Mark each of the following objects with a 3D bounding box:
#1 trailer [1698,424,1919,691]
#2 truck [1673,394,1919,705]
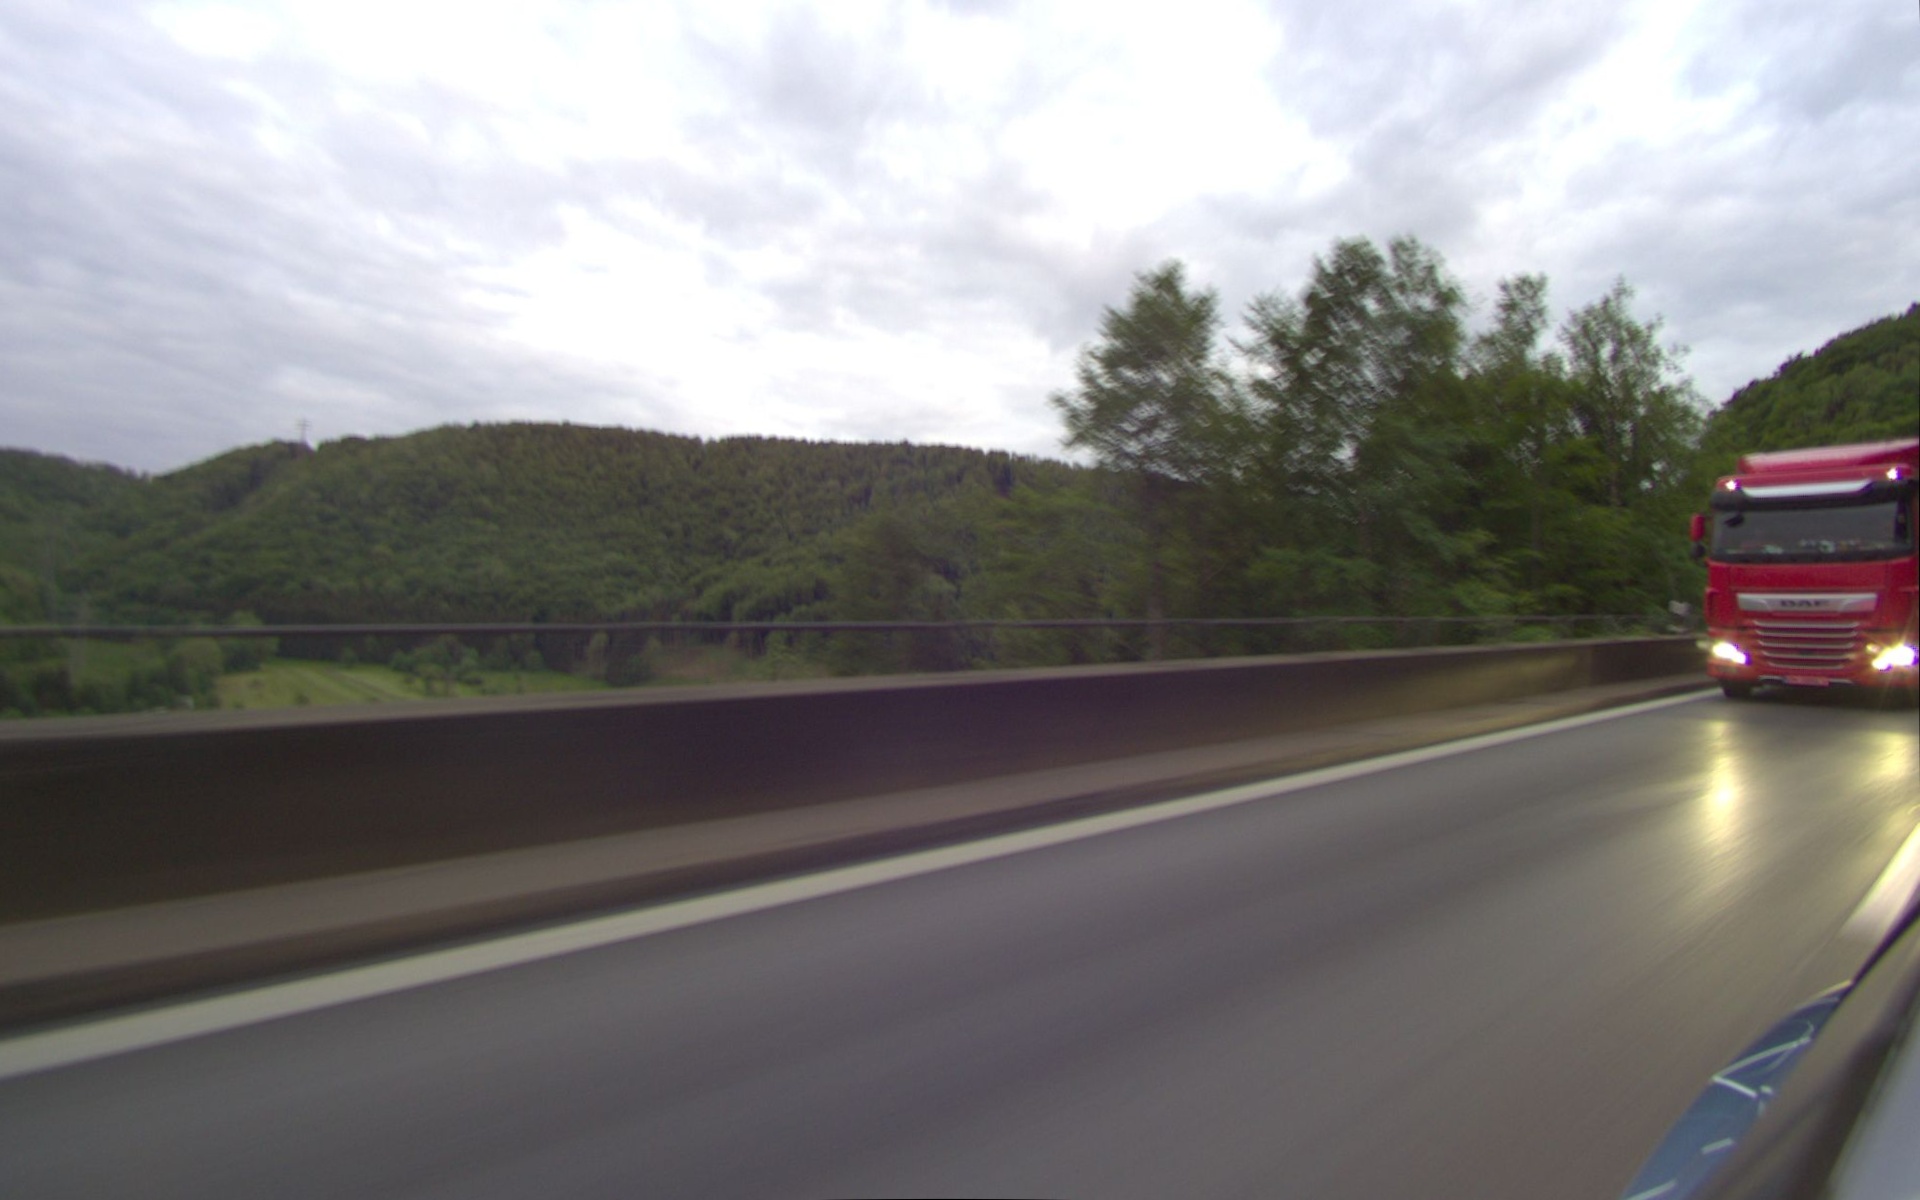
[{"bbox_3d":[18.918,-0.587,20.717,13.968,4.021,3.102,1,-1,-41],"label":"trailer"},{"bbox_3d":[14.507,-0.694,16.676,6.334,4.197,3.074,0,0,-41],"label":"truck"}]
